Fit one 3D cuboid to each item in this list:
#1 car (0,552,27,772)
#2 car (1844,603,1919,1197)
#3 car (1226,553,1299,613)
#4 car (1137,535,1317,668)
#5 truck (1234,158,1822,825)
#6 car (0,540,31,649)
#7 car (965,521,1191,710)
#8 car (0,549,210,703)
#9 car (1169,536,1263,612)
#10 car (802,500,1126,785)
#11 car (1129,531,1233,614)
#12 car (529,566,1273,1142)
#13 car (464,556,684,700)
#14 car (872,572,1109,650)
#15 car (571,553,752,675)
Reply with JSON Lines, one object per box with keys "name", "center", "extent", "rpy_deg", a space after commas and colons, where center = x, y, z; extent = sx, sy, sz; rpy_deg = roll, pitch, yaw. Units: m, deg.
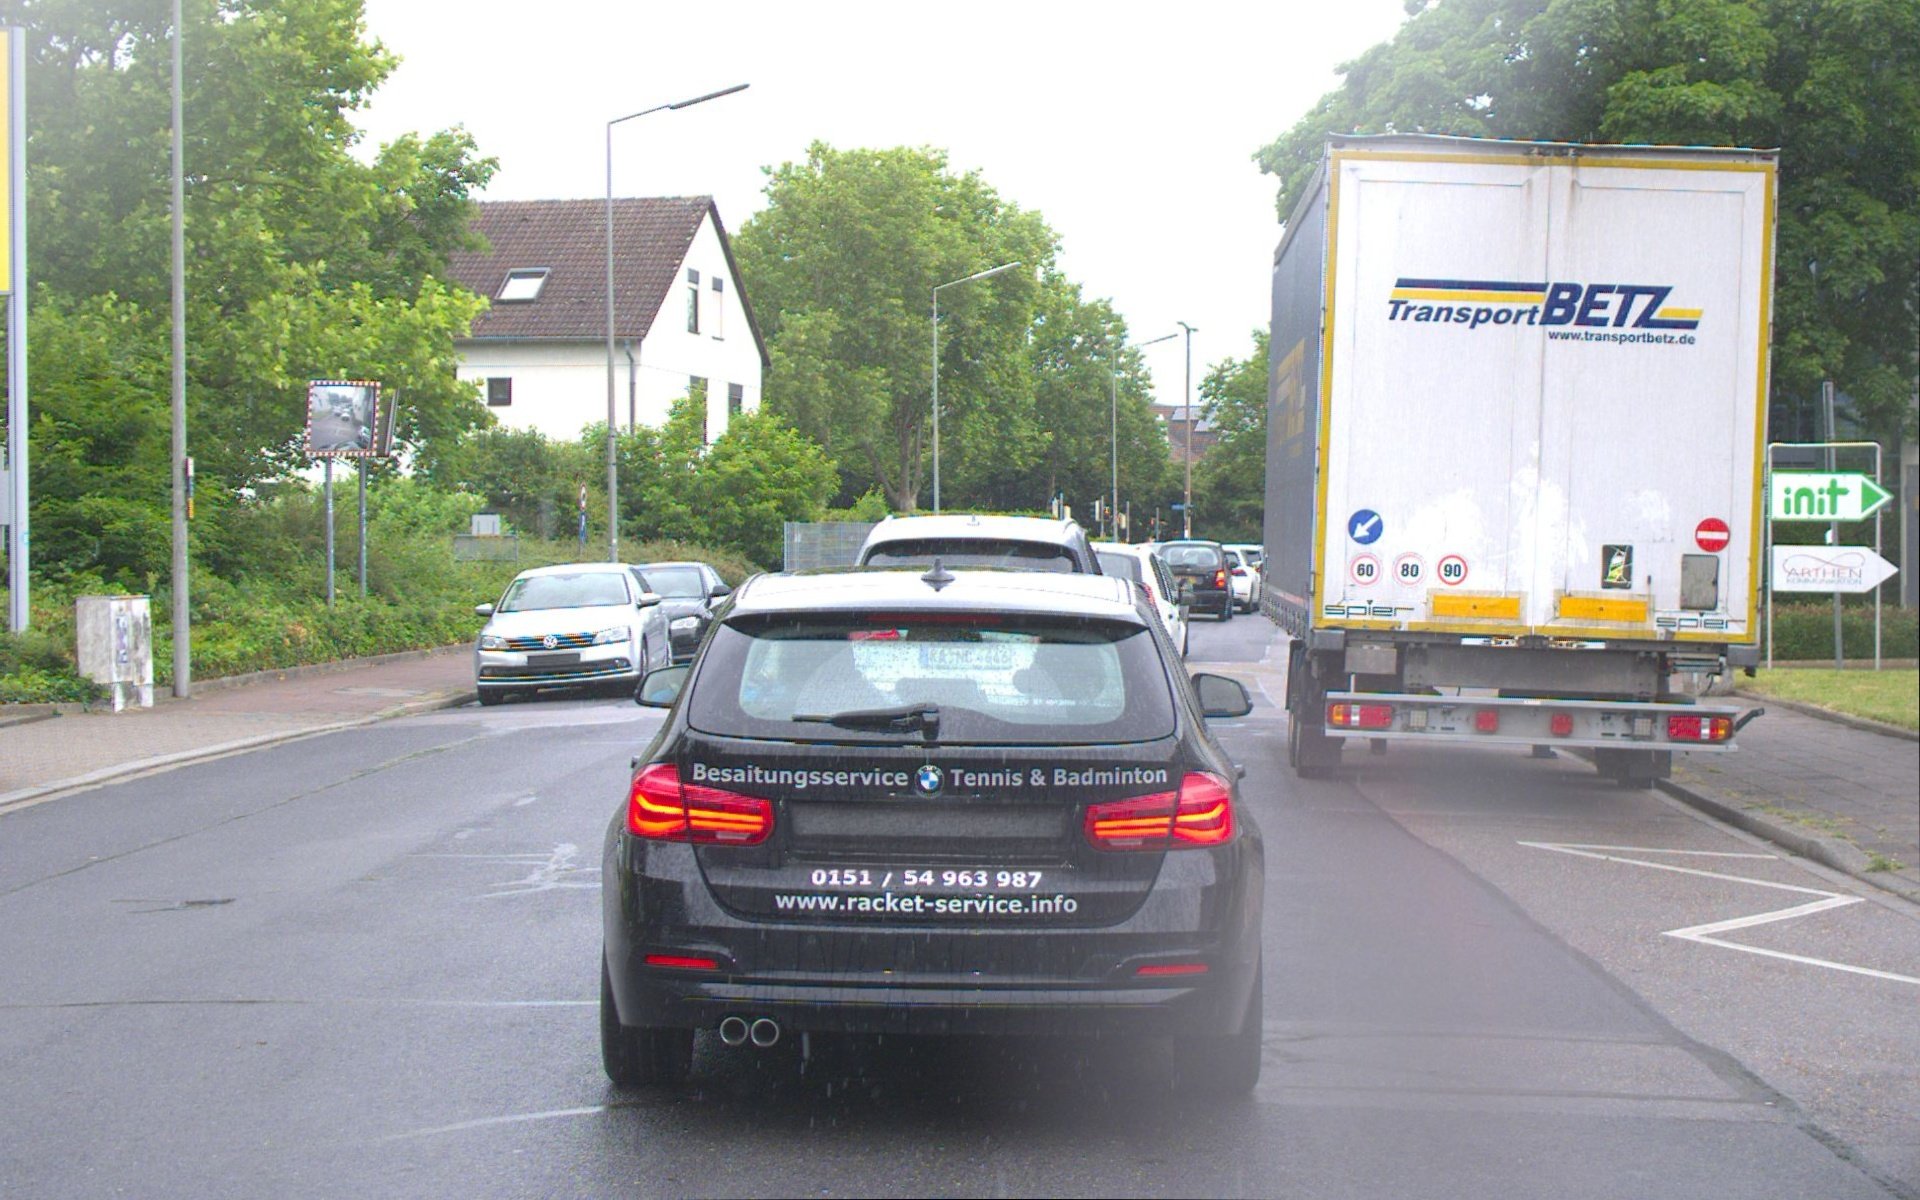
{"name": "car", "center": [-8.457, 0.389, 22.624], "extent": [4.190, 1.455, 1.713], "rpy_deg": [1, 1, -3]}
{"name": "car", "center": [3.261, 0.759, 6.891], "extent": [1.797, 1.436, 4.345], "rpy_deg": [0, 1, -1]}
{"name": "car", "center": [8.254, -0.467, 93.527], "extent": [1.805, 1.581, 3.999], "rpy_deg": [1, 1, 7]}
{"name": "car", "center": [3.534, 0.004, 46.151], "extent": [1.993, 1.678, 4.000], "rpy_deg": [1, 0, -1]}
{"name": "truck", "center": [3.458, -0.666, 22.988], "extent": [2.741, 3.598, 7.750], "rpy_deg": [2, 1, 2]}
{"name": "car", "center": [-15.445, -0.090, 48.794], "extent": [3.987, 1.535, 1.911], "rpy_deg": [0, 1, 1]}
{"name": "car", "center": [1.133, 0.112, 31.148], "extent": [1.804, 1.581, 3.999], "rpy_deg": [1, 1, 5]}
{"name": "car", "center": [-9.616, 0.220, 34.913], "extent": [3.570, 1.455, 1.712], "rpy_deg": [2, 1, 1]}
{"name": "car", "center": [5.604, -0.569, 74.868], "extent": [1.805, 1.581, 3.999], "rpy_deg": [1, 1, 7]}
{"name": "car", "center": [-0.059, 0.220, 21.330], "extent": [1.804, 1.581, 4.000], "rpy_deg": [1, 1, -2]}
{"name": "car", "center": [4.442, -0.549, 68.689], "extent": [1.805, 1.581, 3.999], "rpy_deg": [1, 1, 7]}
{"name": "car", "center": [-0.226, 0.606, 10.415], "extent": [1.804, 1.390, 4.000], "rpy_deg": [1, 1, -2]}
{"name": "car", "center": [-4.105, 0.259, 37.247], "extent": [1.705, 1.362, 4.601], "rpy_deg": [-2, 1, 1]}
{"name": "car", "center": [0.547, 0.191, 61.511], "extent": [4.187, 1.358, 1.589], "rpy_deg": [0, 1, 1]}
{"name": "car", "center": [-3.698, 0.142, 43.215], "extent": [1.706, 1.362, 3.838], "rpy_deg": [-2, 1, 3]}
